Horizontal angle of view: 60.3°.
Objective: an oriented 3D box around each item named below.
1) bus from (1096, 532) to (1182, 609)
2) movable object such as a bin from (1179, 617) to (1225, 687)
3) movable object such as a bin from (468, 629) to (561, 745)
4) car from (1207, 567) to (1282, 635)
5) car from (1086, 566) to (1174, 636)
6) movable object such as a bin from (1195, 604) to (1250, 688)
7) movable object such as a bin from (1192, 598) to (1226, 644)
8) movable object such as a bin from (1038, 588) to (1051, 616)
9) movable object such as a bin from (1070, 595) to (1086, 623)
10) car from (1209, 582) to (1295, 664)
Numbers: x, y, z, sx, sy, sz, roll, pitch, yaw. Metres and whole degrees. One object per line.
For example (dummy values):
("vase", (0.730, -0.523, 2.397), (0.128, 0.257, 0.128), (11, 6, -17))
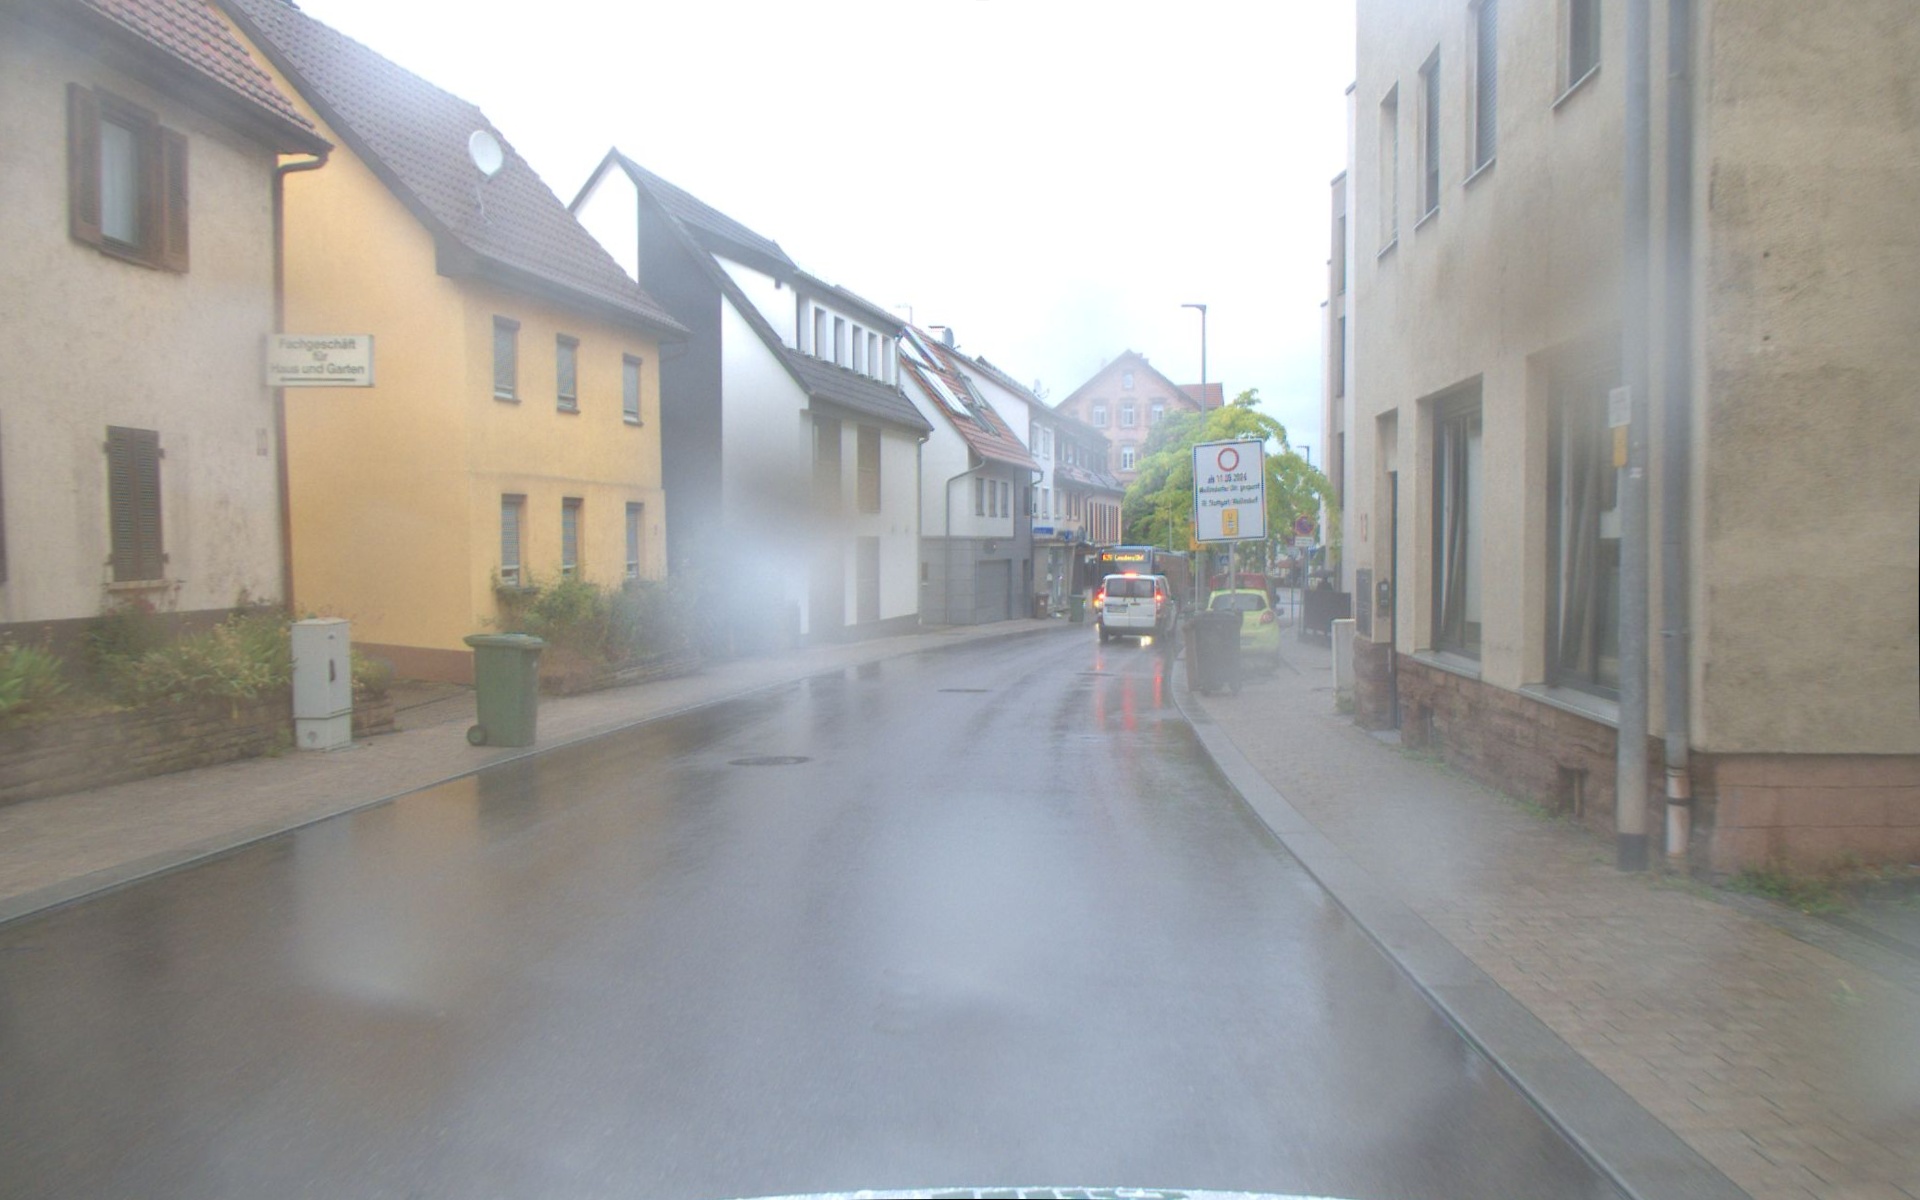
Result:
("bus", (8.026, -1.276, 73.257), (2.681, 3.185, 9.242), (0, 1, 13))
("movable object such as a bin", (3.765, 0.800, 25.732), (0.691, 1.064, 0.518), (0, 0, 10))
("movable object such as a bin", (-4.393, 0.848, 16.338), (0.646, 1.074, 0.764), (2, 0, 3))
("car", (7.906, 0.016, 45.740), (1.675, 1.793, 4.003), (0, 0, 15))
("car", (4.915, 0.008, 47.390), (2.148, 1.884, 4.308), (-1, 0, 10))
("movable object such as a bin", (3.845, 0.657, 24.300), (0.751, 1.193, 1.542), (0, 0, 7))
("movable object such as a bin", (6.177, 0.507, 40.948), (0.793, 1.128, 0.987), (0, 0, 11))
("movable object such as a bin", (3.511, 0.076, 68.701), (0.507, 1.142, 0.636), (0, 0, 5))
("movable object such as a bin", (4.783, 0.362, 67.135), (0.620, 1.142, 0.520), (0, 0, 9))
("car", (5.863, 0.423, 33.361), (1.569, 1.510, 3.304), (-2, 0, 9))
